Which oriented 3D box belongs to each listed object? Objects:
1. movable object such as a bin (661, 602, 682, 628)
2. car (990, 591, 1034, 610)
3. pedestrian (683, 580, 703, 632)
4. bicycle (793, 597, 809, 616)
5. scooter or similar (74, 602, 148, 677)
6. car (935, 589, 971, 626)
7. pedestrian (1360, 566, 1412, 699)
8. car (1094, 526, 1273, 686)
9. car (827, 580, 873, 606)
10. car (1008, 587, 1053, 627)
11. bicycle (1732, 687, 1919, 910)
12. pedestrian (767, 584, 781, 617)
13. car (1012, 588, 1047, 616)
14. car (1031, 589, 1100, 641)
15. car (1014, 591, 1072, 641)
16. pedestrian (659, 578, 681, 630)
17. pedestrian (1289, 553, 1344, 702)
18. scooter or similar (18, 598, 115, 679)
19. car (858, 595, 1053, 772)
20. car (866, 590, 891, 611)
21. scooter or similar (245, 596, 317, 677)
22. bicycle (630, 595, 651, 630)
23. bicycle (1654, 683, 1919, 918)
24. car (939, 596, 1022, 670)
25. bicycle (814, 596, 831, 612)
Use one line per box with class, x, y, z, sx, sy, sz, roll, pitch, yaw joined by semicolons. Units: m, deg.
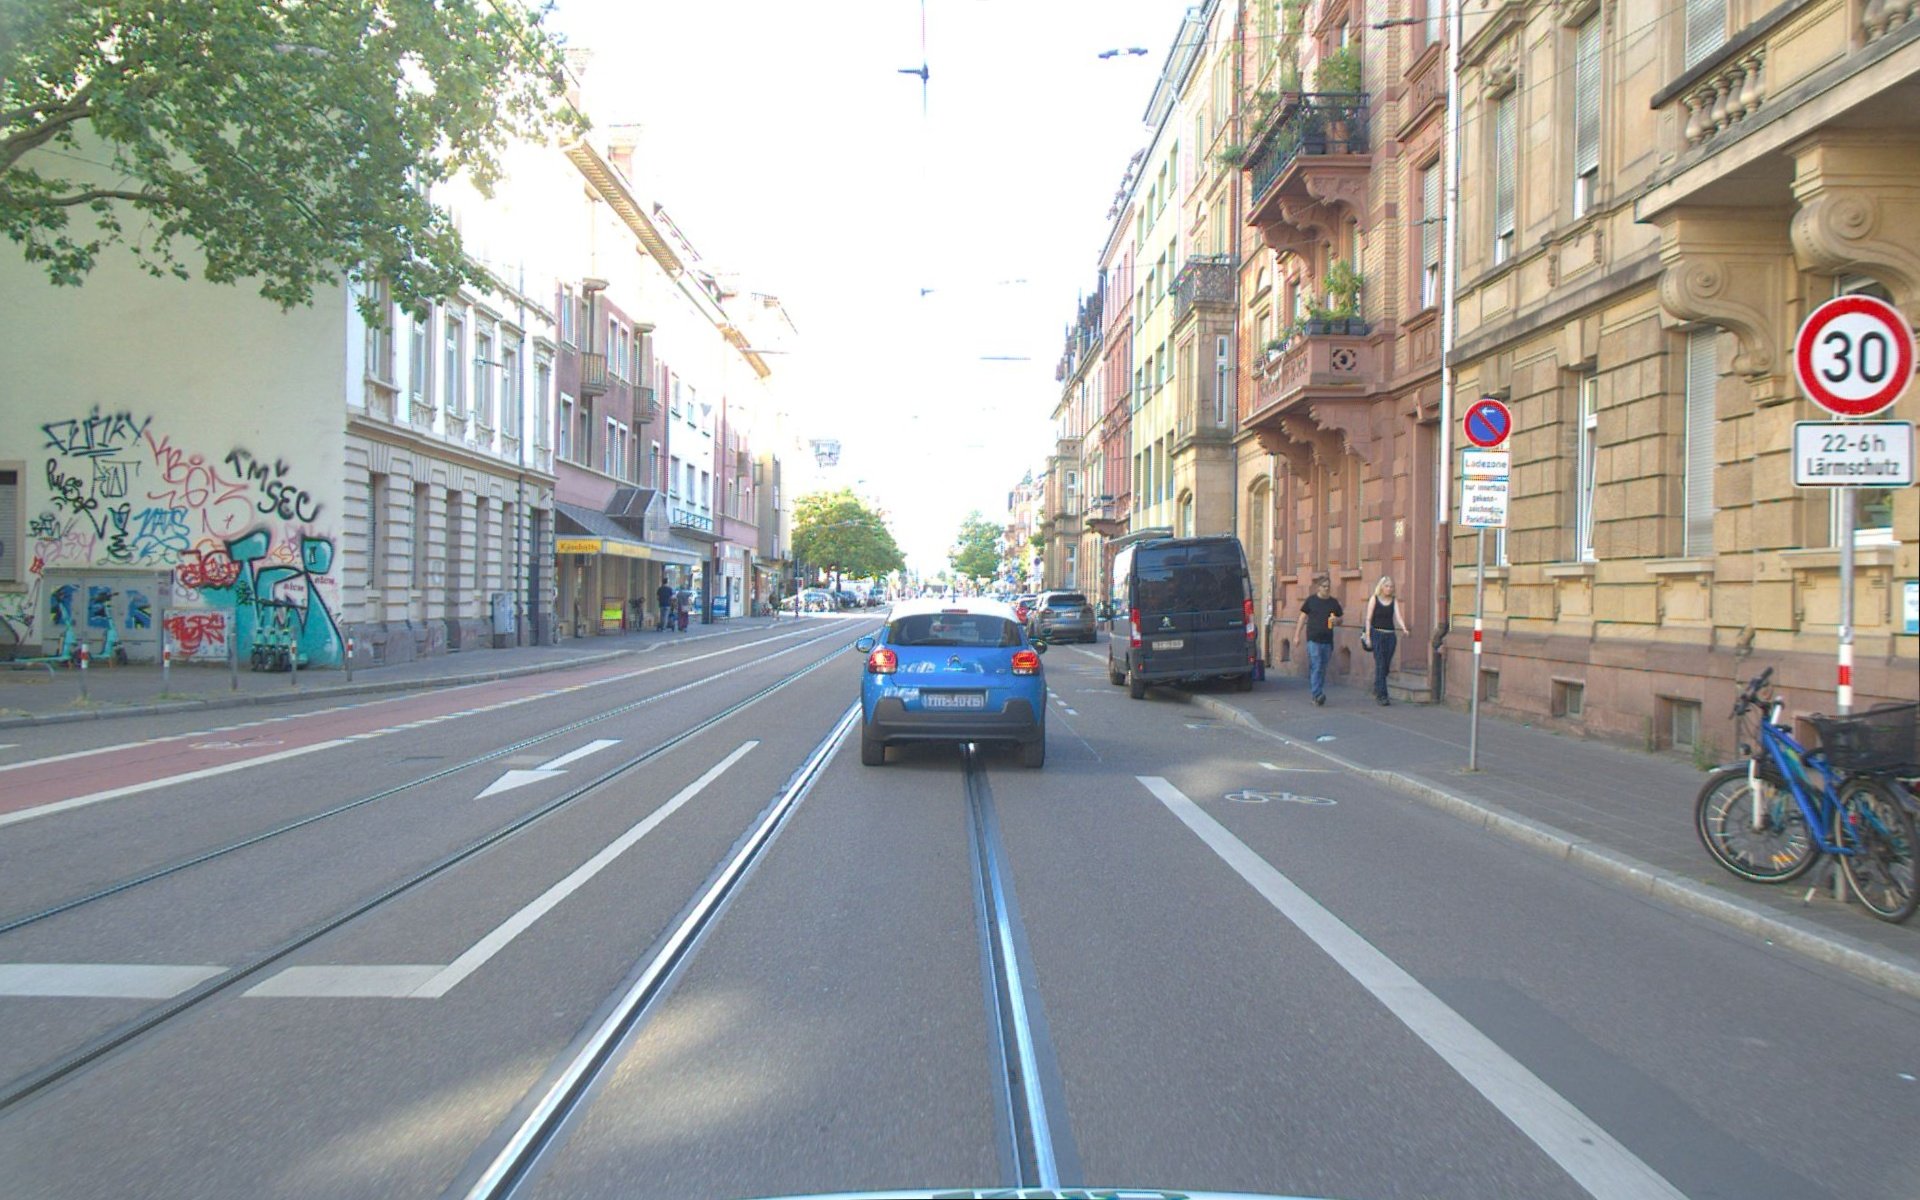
movable object such as a bin;-10.131;0.524;58.061;0.598;0.930;0.695;0;0;-1
car;4.580;0.080;145.663;3.759;1.646;1.790;0;0;-3
pedestrian;-9.286;0.200;57.555;0.697;1.795;0.653;0;0;-9
bicycle;-11.541;0.464;120.126;1.099;1.342;3.639;0;0;-6
scooter or similar;-14.285;0.653;27.844;0.921;1.243;0.765;0;0;-13
car;-0.431;0.396;93.575;1.953;2.049;3.999;0;0;-2
pedestrian;5.894;0.444;22.914;0.542;1.813;0.606;1;0;-2
car;3.731;0.088;28.772;2.225;2.479;5.719;1;0;-1
car;-11.231;-0.757;169.194;4.256;2.626;2.191;0;0;-27
car;3.371;0.336;80.162;1.965;1.701;4.391;0;3;-1
bicycle;4.654;0.976;8.427;0.423;0.964;1.760;0;0;-8
pedestrian;-9.651;0.029;85.775;0.671;1.667;0.675;0;0;-2
car;4.383;0.119;104.758;1.965;1.701;4.390;-2;0;-1
car;3.523;0.473;55.968;1.965;1.702;4.805;0;0;-1
car;3.051;0.577;61.559;1.867;1.788;3.999;0;0;-2
pedestrian;-10.063;0.124;57.403;0.696;1.795;0.570;0;0;-2
pedestrian;5.002;0.380;23.235;0.573;2.049;0.823;0;0;-2
scooter or similar;-14.502;0.618;26.858;1.207;1.280;0.765;0;0;-13
car;-0.158;0.715;16.241;1.641;1.503;3.997;0;0;-4
car;-6.568;0.020;133.652;1.953;1.680;3.999;0;0;-2
scooter or similar;-11.631;0.609;28.355;0.772;1.294;1.074;3;2;-2
bicycle;-10.907;0.413;56.446;0.610;1.180;2.058;0;0;-14
bicycle;4.198;0.951;8.375;0.423;0.964;1.760;0;0;-8
car;0.390;0.667;36.001;1.633;1.504;3.999;0;0;-2
bicycle;-10.008;0.277;120.392;1.099;1.166;3.639;0;0;-6
